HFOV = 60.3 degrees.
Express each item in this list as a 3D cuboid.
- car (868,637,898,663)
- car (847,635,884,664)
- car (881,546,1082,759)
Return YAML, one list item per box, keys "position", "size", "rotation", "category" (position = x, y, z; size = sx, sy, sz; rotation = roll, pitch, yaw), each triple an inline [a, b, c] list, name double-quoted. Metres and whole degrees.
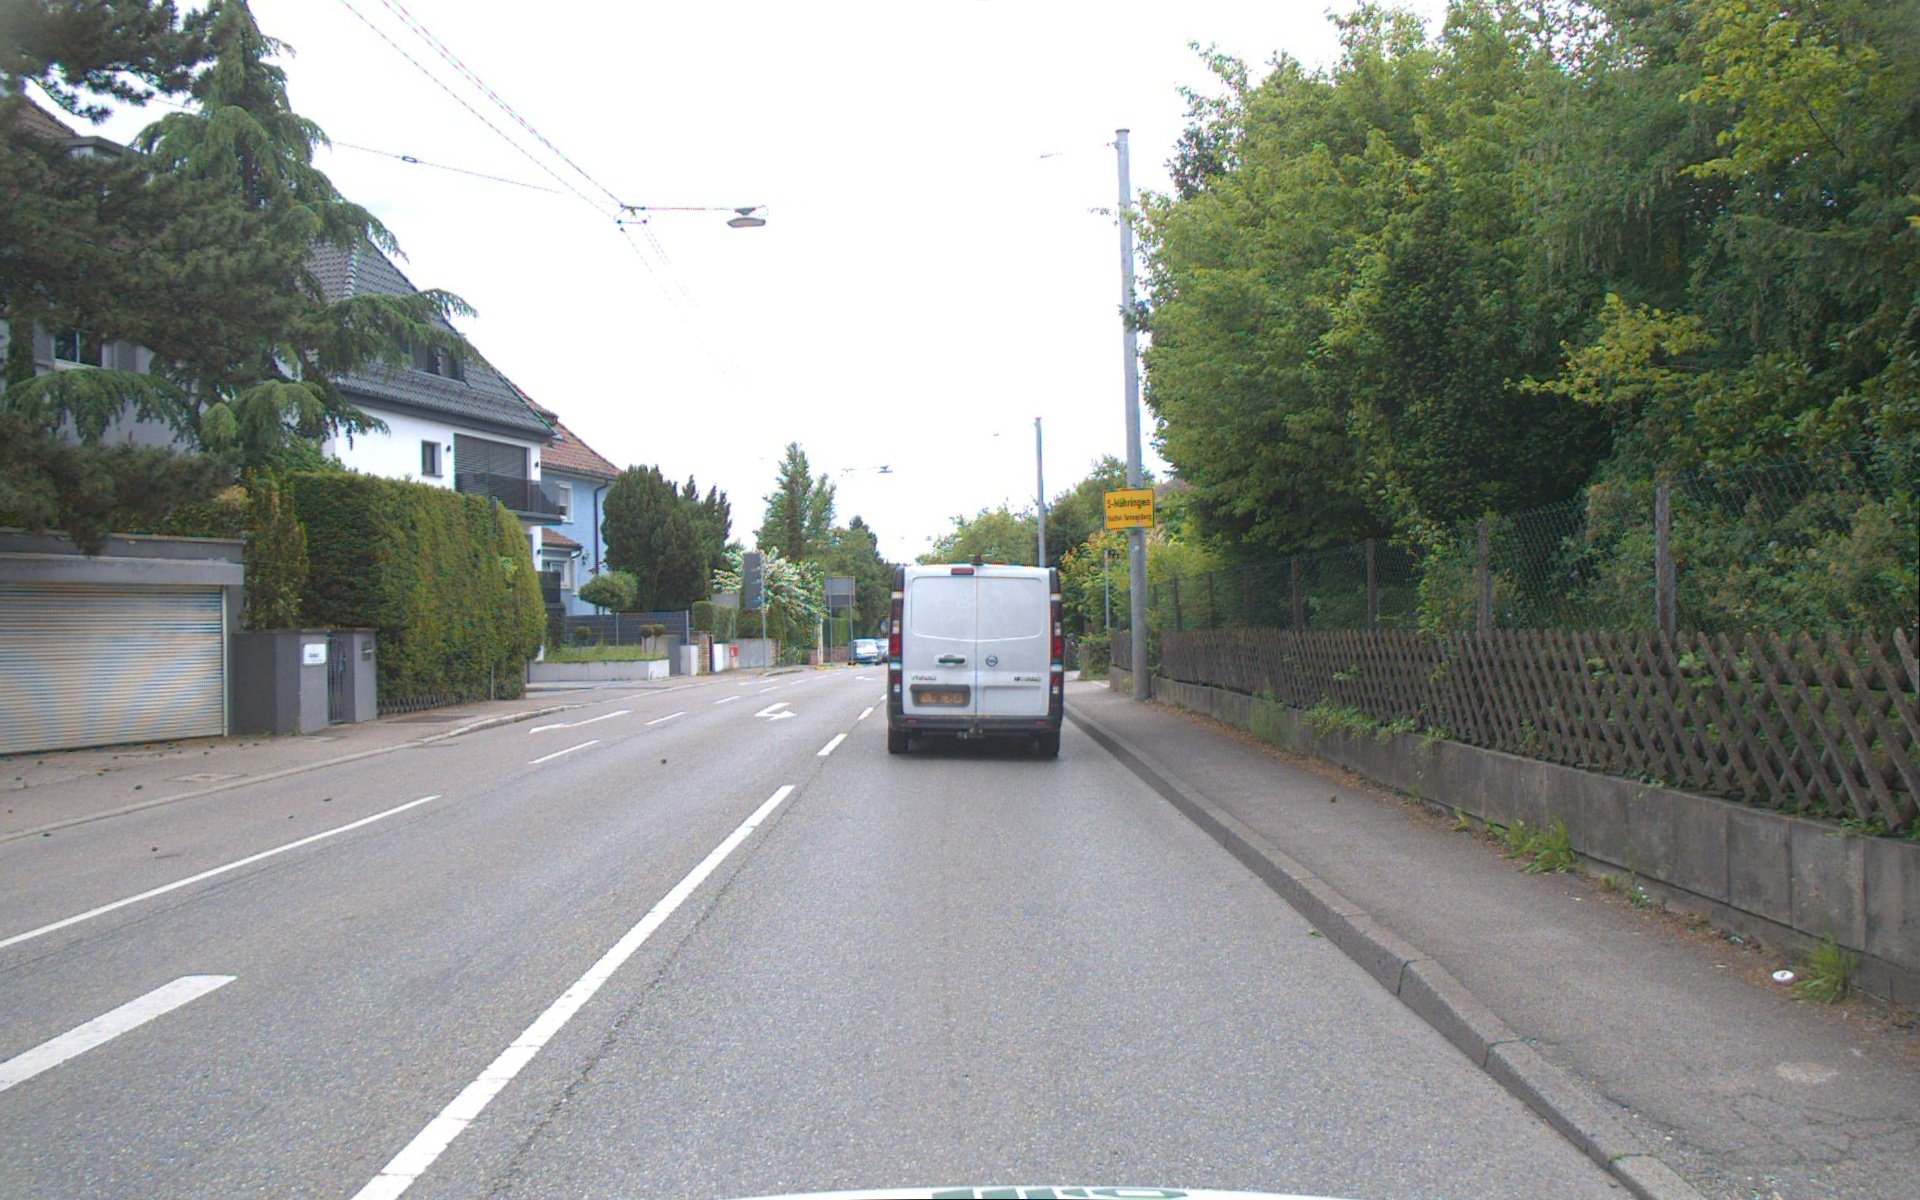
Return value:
- position: [-4.985, 3.279, 107.586]
  size: [1.644, 1.583, 3.971]
  rotation: [-3, -2, 0]
  category: "car"
- position: [-5.273, 2.740, 92.677]
  size: [1.773, 1.481, 4.412]
  rotation: [-4, -1, -1]
  category: "car"
- position: [0.208, 0.530, 18.837]
  size: [1.965, 2.073, 5.009]
  rotation: [1, 0, 0]
  category: "car"
